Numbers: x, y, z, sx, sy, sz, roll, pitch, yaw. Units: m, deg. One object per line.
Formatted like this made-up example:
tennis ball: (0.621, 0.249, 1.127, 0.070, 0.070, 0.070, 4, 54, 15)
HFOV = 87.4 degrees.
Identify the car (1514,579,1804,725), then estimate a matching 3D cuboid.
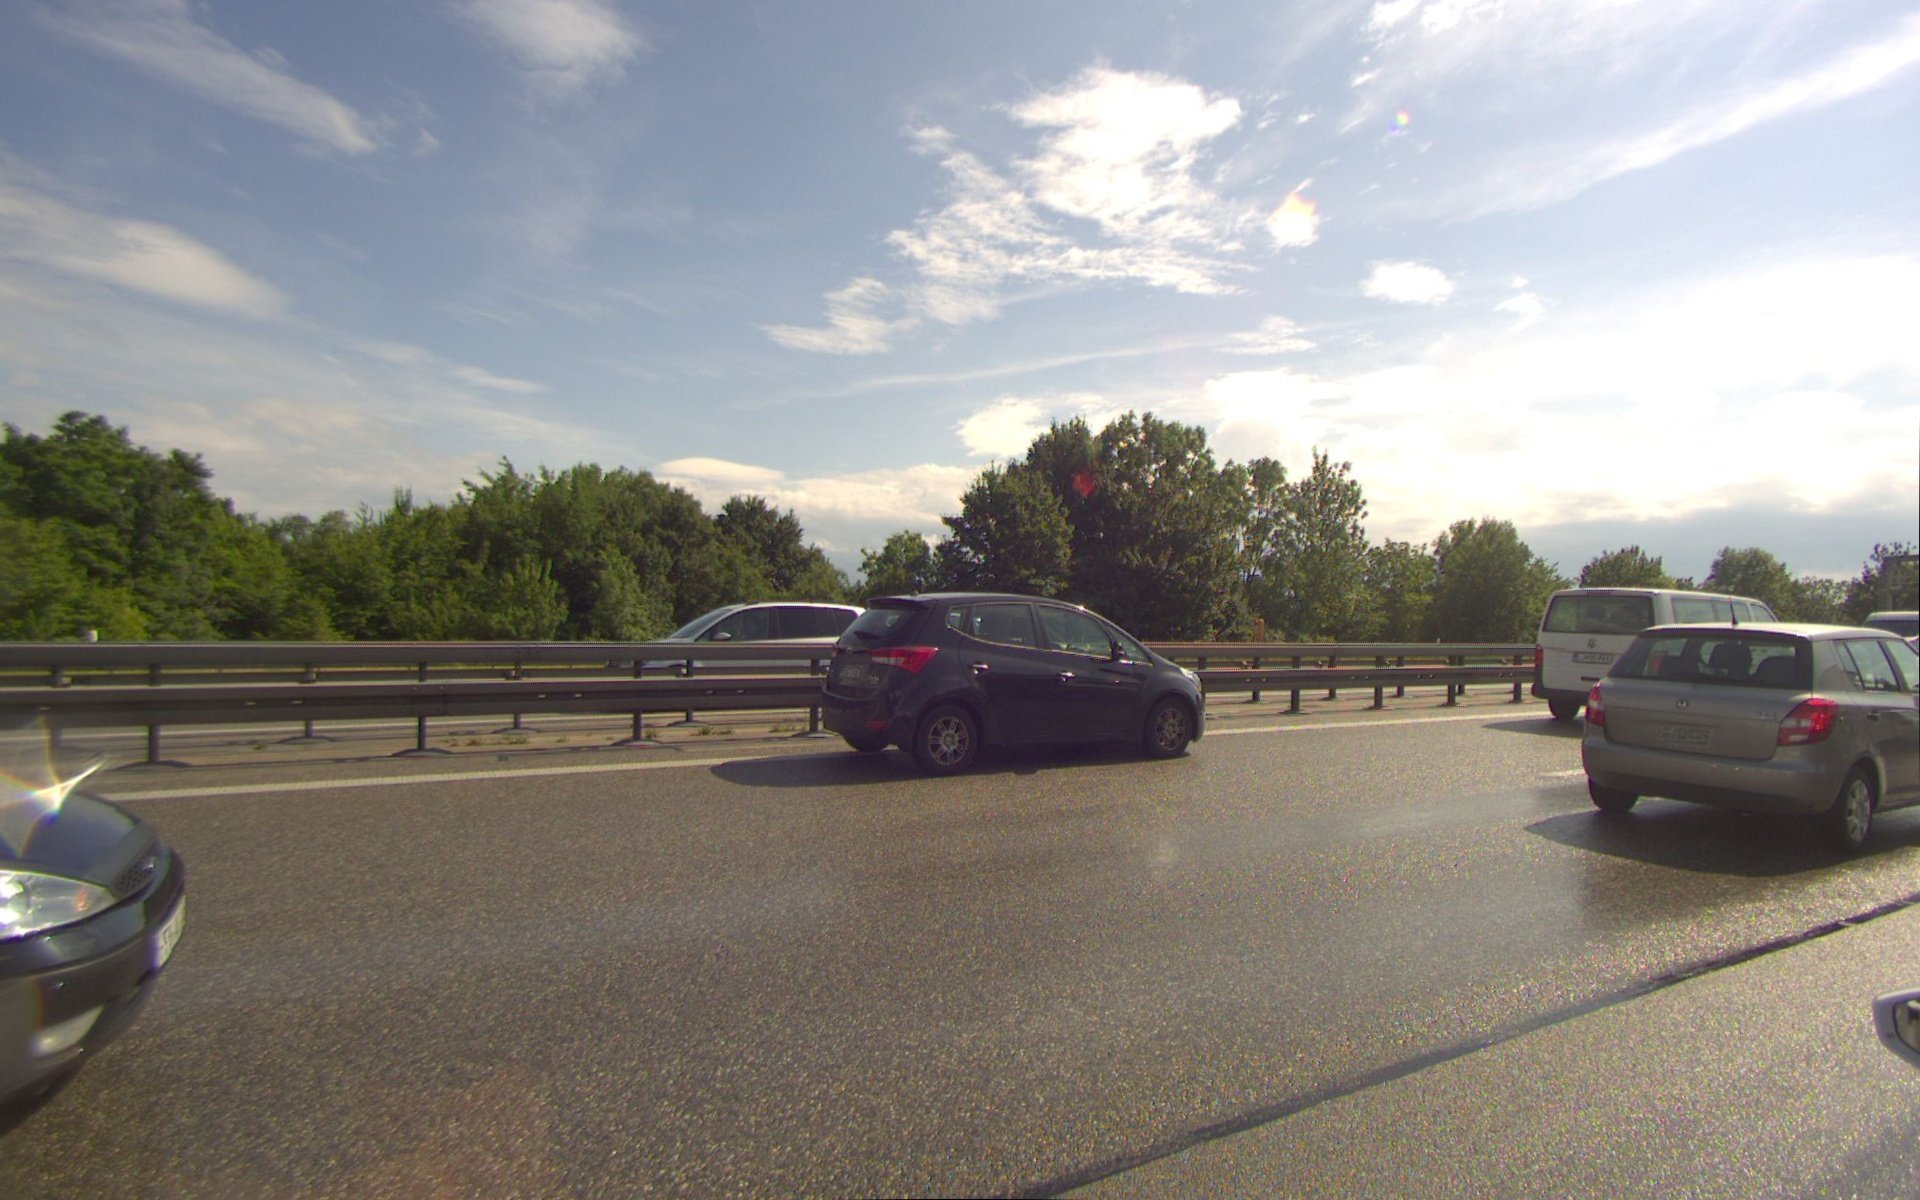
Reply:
car: (10.871, 0.746, 15.516, 4.959, 1.959, 1.838, 1, 0, -32)

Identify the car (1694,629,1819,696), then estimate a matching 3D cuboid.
car: (26.059, 1.993, 32.848, 3.956, 2.017, 1.982, 1, 0, -32)

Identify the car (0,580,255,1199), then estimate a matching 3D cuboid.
car: (-4.085, 0.642, 2.213, 3.953, 1.462, 1.750, 1, 0, -30)

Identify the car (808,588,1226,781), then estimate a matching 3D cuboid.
car: (0.625, 0.740, 10.107, 3.871, 1.599, 1.774, 1, 0, -31)

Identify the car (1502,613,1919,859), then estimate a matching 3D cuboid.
car: (6.393, 0.892, 7.994, 3.781, 1.477, 1.978, 1, 0, -30)

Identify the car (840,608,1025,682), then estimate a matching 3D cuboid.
car: (-0.583, 0.947, 21.651, 3.589, 1.452, 1.743, 1, 0, -28)

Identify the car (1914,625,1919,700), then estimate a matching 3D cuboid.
car: (23.683, 1.468, 23.027, 3.958, 1.684, 1.761, 2, 0, -33)

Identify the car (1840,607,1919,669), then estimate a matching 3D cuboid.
car: (39.127, 1.557, 41.731, 6.033, 2.428, 2.103, 1, 0, -31)
